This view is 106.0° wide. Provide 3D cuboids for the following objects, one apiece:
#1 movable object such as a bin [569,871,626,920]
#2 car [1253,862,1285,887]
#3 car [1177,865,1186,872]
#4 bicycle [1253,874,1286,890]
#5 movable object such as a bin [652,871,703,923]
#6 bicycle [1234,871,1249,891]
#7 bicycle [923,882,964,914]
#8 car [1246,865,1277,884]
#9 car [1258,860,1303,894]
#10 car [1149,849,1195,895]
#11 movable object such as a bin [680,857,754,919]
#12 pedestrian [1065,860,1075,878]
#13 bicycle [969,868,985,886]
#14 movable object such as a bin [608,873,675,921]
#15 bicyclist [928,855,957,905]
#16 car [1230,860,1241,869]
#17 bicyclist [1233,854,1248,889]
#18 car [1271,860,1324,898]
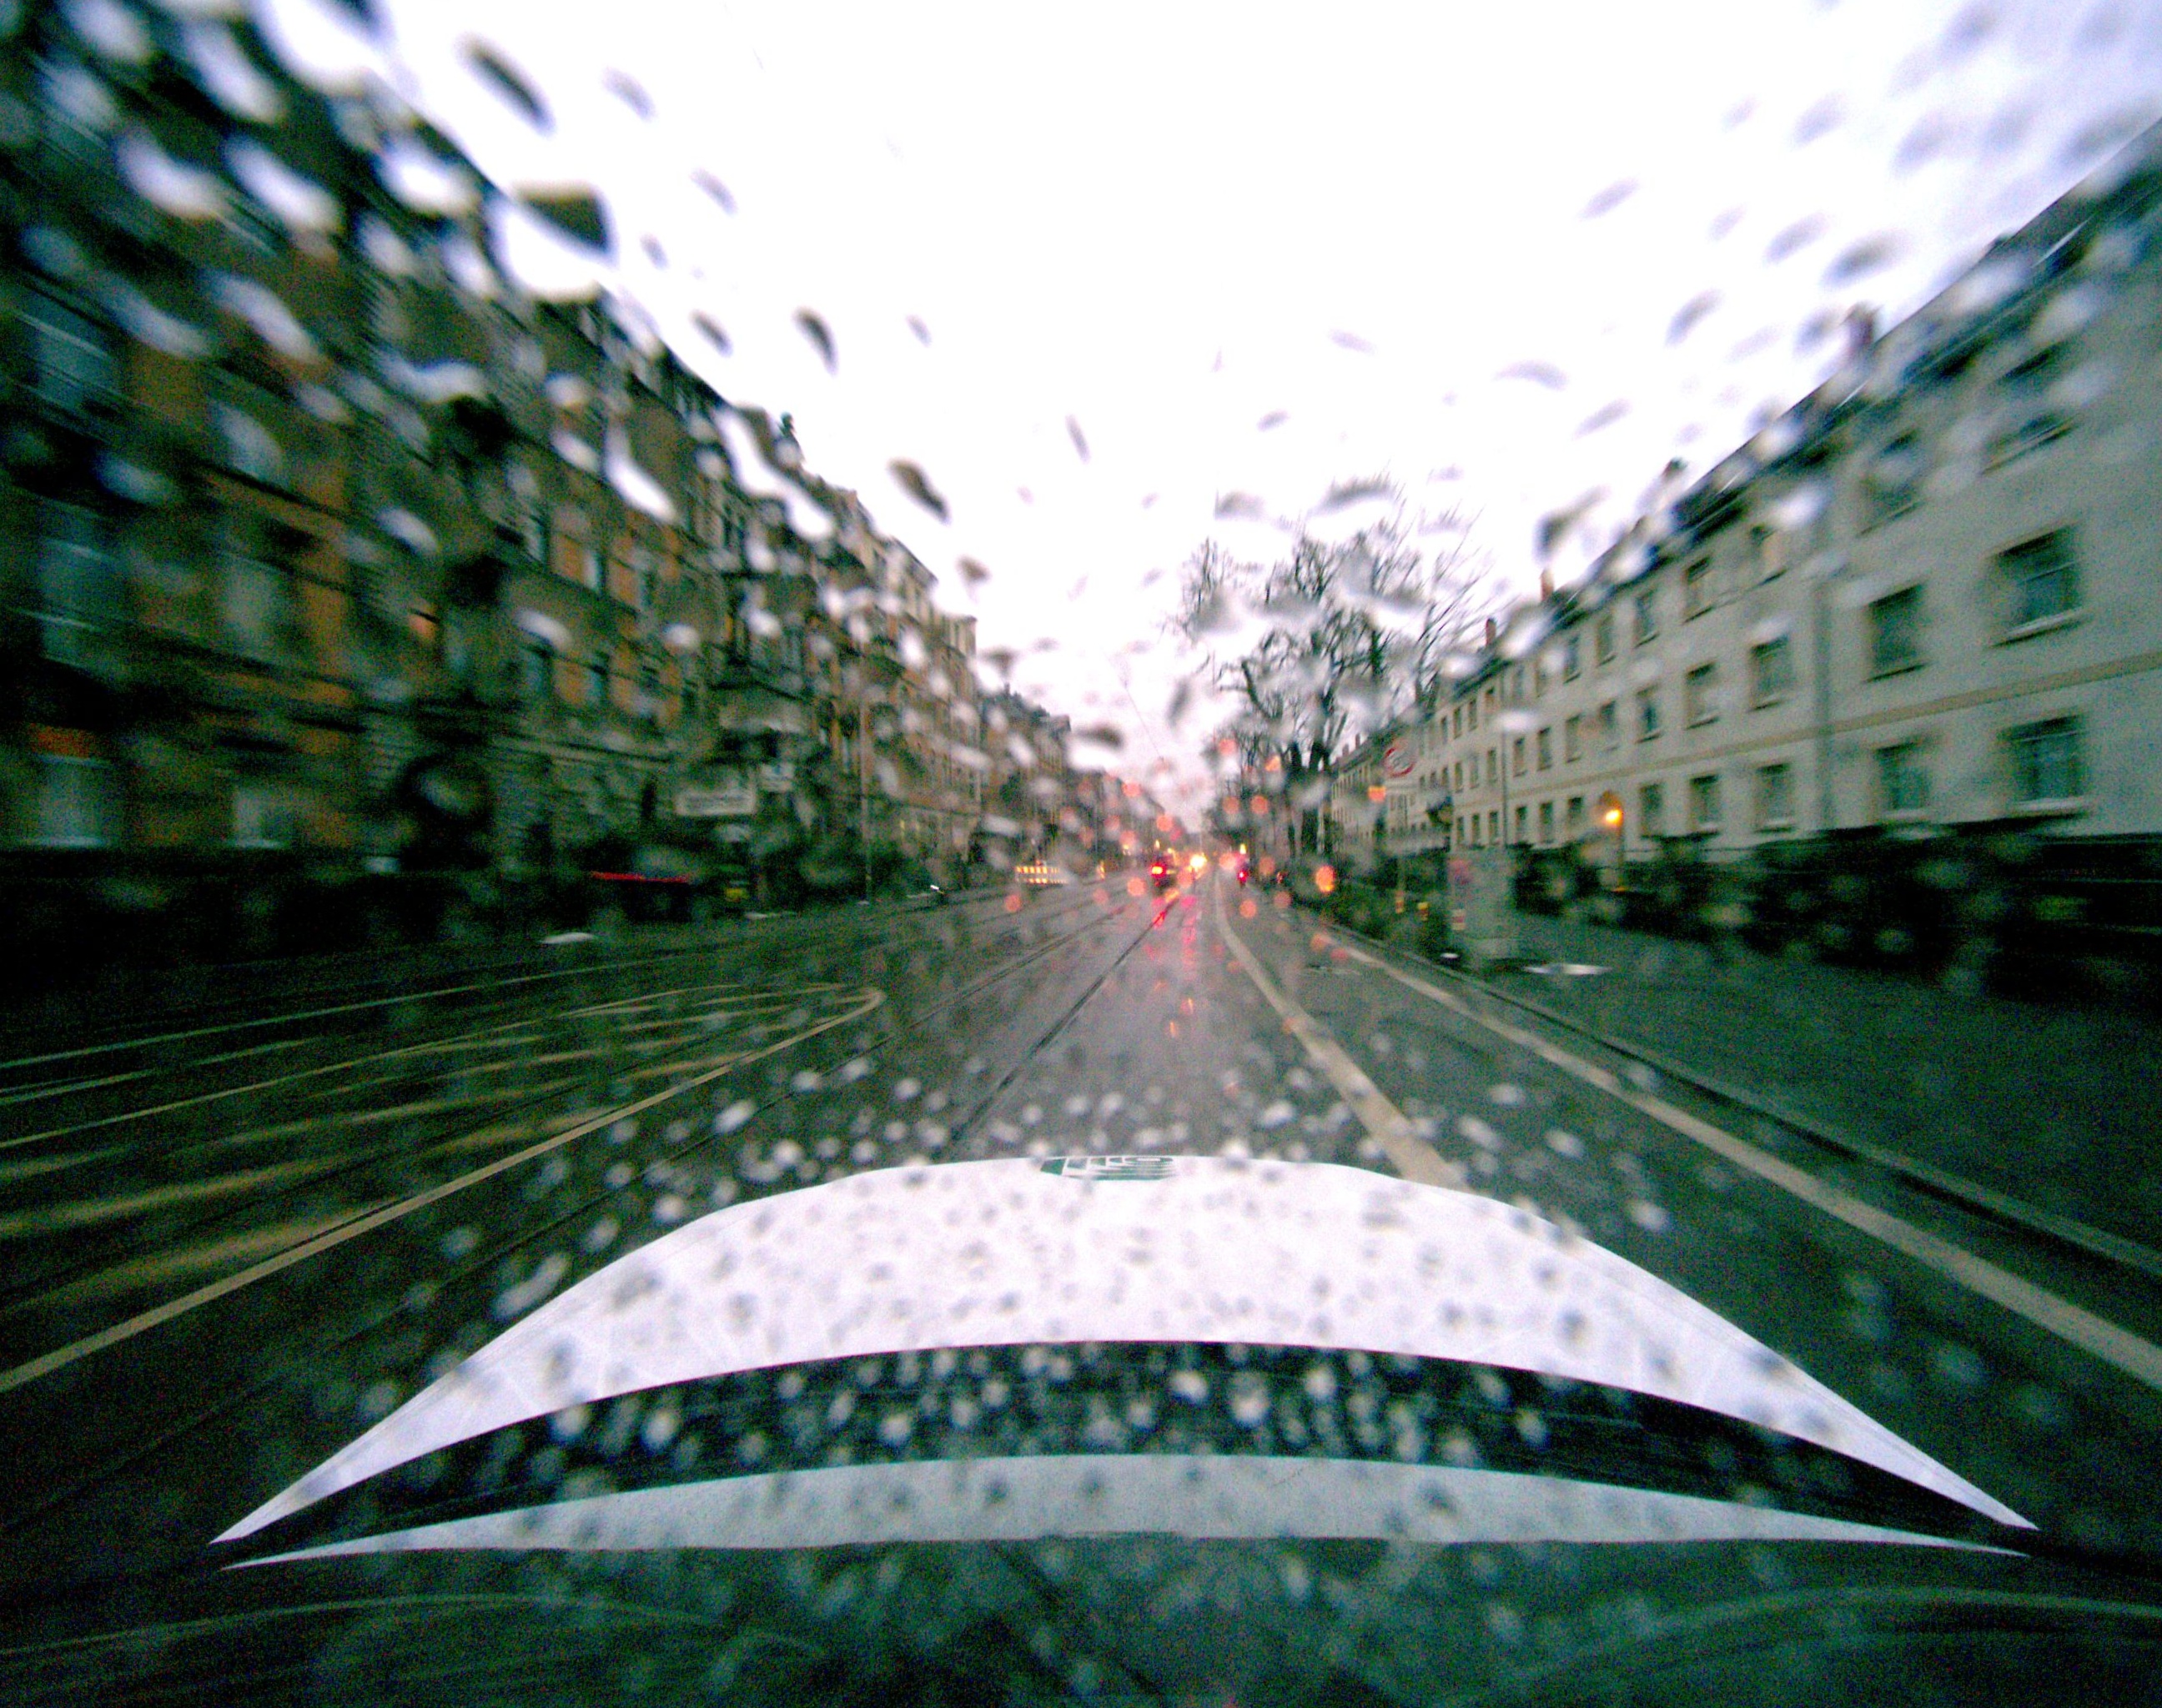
[{"bbox_3d":[-12.697,1.082,21.413,1.004,1.244,0.775,1,-1,7],"label":"movable object such as a bin"},{"bbox_3d":[12.494,1.359,54.406,1.893,1.610,4.574,0,-1,11],"label":"car"},{"bbox_3d":[24.892,3.531,201.576,1.912,1.720,4.010,0,-1,9],"label":"car"},{"bbox_3d":[11.684,1.737,50.491,1.997,0.916,0.467,-1,-1,18],"label":"bicycle"},{"bbox_3d":[-10.422,1.093,21.062,0.890,1.292,0.748,1,-1,7],"label":"movable object such as a bin"},{"bbox_3d":[8.034,1.345,40.912,0.727,1.007,1.769,0,-1,10],"label":"bicycle"},{"bbox_3d":[-4.462,1.407,26.604,0.674,0.972,1.938,0,-1,11],"label":"bicycle"},{"bbox_3d":[14.365,1.596,65.051,1.870,1.420,4.350,-1,-1,5],"label":"car"},{"bbox_3d":[10.634,1.180,43.673,1.894,1.727,4.914,0,-1,9],"label":"car"},{"bbox_3d":[4.147,0.783,36.511,1.791,1.871,4.027,3,0,9],"label":"car"},{"bbox_3d":[-9.775,0.882,21.919,1.235,1.586,1.312,1,-1,14],"label":"movable object such as a bin"},{"bbox_3d":[-1.130,1.493,82.212,0.722,1.773,0.764,1,-1,-27],"label":"pedestrian"},{"bbox_3d":[-5.542,1.205,43.512,0.261,0.915,1.690,6,0,9],"label":"bicycle"},{"bbox_3d":[-11.479,1.110,21.304,1.178,1.207,0.947,1,-1,7],"label":"movable object such as a bin"},{"bbox_3d":[-4.485,0.834,26.356,0.679,1.616,0.768,0,-1,10],"label":"bicyclist"},{"bbox_3d":[26.230,1.780,138.342,1.774,1.509,4.119,0,-1,9],"label":"car"},{"bbox_3d":[8.023,0.886,40.861,0.726,1.737,0.768,0,-1,10],"label":"bicyclist"},{"bbox_3d":[9.207,1.038,34.826,1.775,1.509,3.997,0,-1,9],"label":"car"}]
